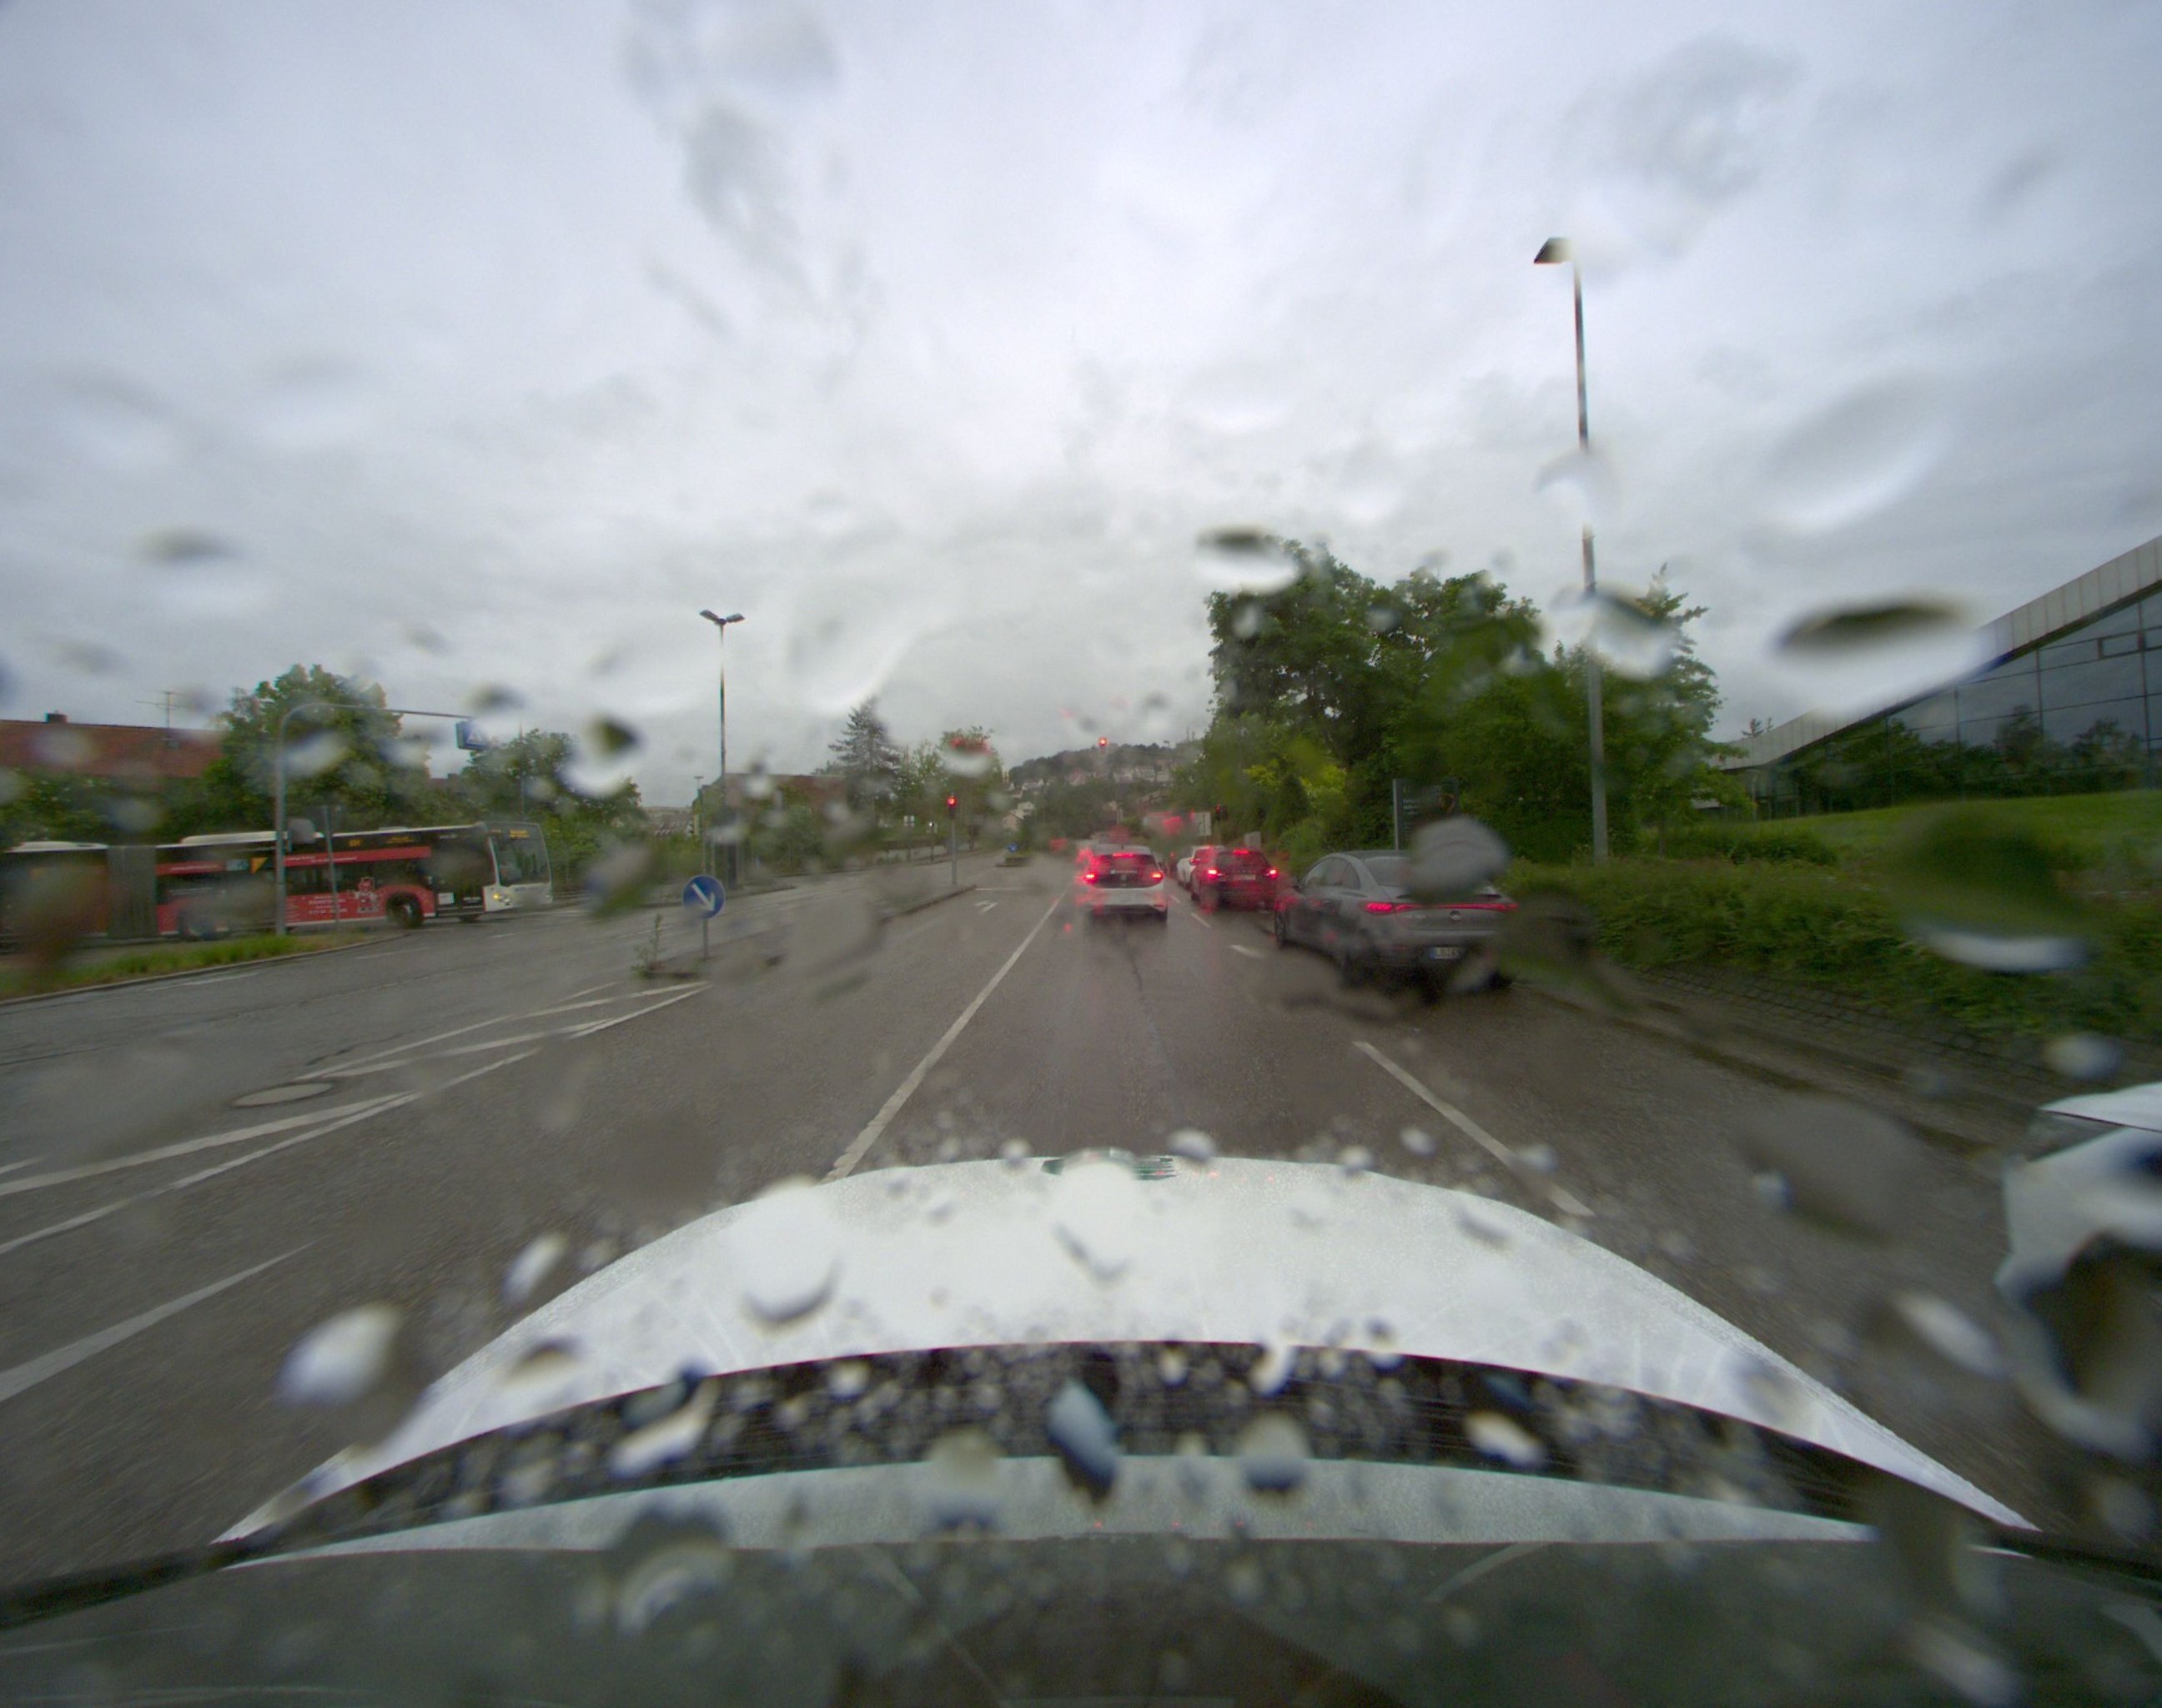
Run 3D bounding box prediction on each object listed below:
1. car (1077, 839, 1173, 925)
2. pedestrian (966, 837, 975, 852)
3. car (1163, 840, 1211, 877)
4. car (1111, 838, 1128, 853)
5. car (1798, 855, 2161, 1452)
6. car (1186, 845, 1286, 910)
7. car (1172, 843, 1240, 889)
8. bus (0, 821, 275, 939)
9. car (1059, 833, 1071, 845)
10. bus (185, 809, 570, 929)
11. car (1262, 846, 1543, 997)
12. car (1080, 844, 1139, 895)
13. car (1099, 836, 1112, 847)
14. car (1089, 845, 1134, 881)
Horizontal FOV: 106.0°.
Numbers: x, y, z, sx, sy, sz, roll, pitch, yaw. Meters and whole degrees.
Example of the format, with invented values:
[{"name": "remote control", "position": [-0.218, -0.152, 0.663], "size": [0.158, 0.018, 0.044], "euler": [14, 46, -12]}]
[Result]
[{"name": "car", "position": [0.907, 0.501, 17.859], "size": [1.831, 1.629, 4.617], "euler": [0, 1, 1]}, {"name": "pedestrian", "position": [-12.187, -1.036, 89.843], "size": [0.757, 1.568, 0.825], "euler": [-4, 0, 1]}, {"name": "car", "position": [4.730, 0.201, 36.775], "size": [1.768, 1.581, 4.002], "euler": [0, 0, 2]}, {"name": "car", "position": [4.321, -0.967, 91.247], "size": [1.768, 1.581, 4.002], "euler": [-3, 0, 2]}, {"name": "car", "position": [3.389, 0.724, 0.903], "size": [1.656, 1.415, 4.117], "euler": [-1, 0, 2]}, {"name": "car", "position": [3.812, 0.510, 20.737], "size": [1.831, 1.466, 4.351], "euler": [0, 1, 1]}, {"name": "car", "position": [4.271, 0.357, 28.374], "size": [1.831, 1.466, 4.118], "euler": [0, 1, 1]}, {"name": "bus", "position": [-30.110, 0.788, 23.741], "size": [9.338, 3.114, 2.776], "euler": [-2, 0, -10]}, {"name": "car", "position": [-3.017, -2.844, 153.989], "size": [1.986, 2.014, 4.002], "euler": [0, -1, 2]}, {"name": "bus", "position": [-20.869, 0.412, 24.589], "size": [8.833, 3.114, 2.798], "euler": [-2, 0, -3]}, {"name": "car", "position": [3.725, 0.644, 10.485], "size": [1.831, 1.466, 4.810], "euler": [0, 1, 1]}, {"name": "car", "position": [0.929, 0.457, 27.072], "size": [1.831, 1.554, 4.176], "euler": [0, 1, 1]}, {"name": "car", "position": [3.663, -1.821, 119.921], "size": [1.768, 1.581, 4.002], "euler": [-3, 0, 2]}, {"name": "car", "position": [1.276, 0.333, 34.530], "size": [1.831, 1.399, 3.832], "euler": [0, 1, 1]}]
